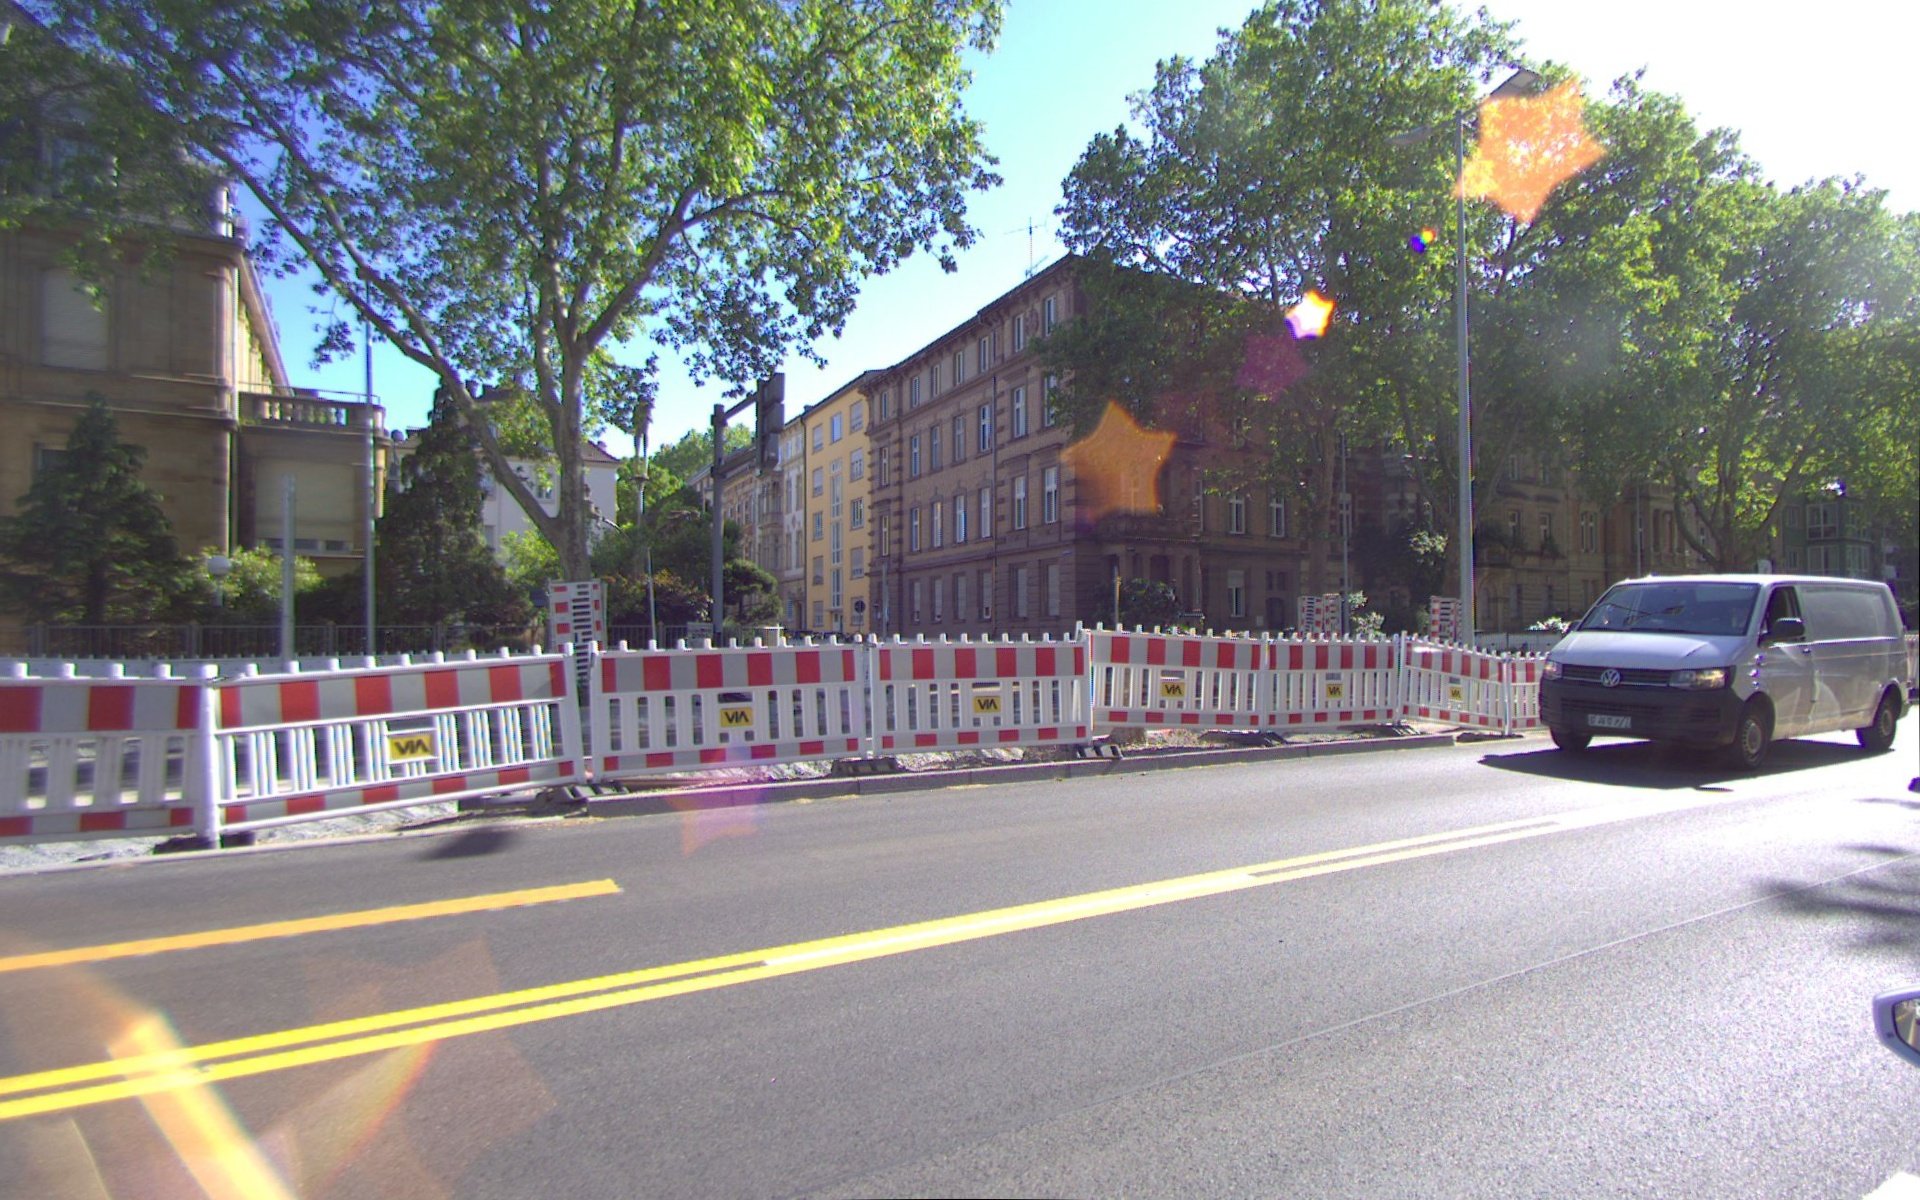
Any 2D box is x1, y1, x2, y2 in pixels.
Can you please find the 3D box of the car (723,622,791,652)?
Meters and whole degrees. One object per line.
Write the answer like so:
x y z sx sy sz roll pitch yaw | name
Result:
-12.170 2.220 60.298 3.755 1.759 1.611 1 -2 -28 | car

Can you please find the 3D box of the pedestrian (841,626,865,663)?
-5.039 2.093 47.186 0.814 1.682 0.758 -2 -2 36 | pedestrian

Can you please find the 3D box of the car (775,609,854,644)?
-7.517 1.364 51.974 3.755 1.759 1.611 1 -2 -28 | car

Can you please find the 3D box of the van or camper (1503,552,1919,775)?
8.649 0.626 11.416 5.267 2.040 1.983 1 -1 -31 | van or camper
